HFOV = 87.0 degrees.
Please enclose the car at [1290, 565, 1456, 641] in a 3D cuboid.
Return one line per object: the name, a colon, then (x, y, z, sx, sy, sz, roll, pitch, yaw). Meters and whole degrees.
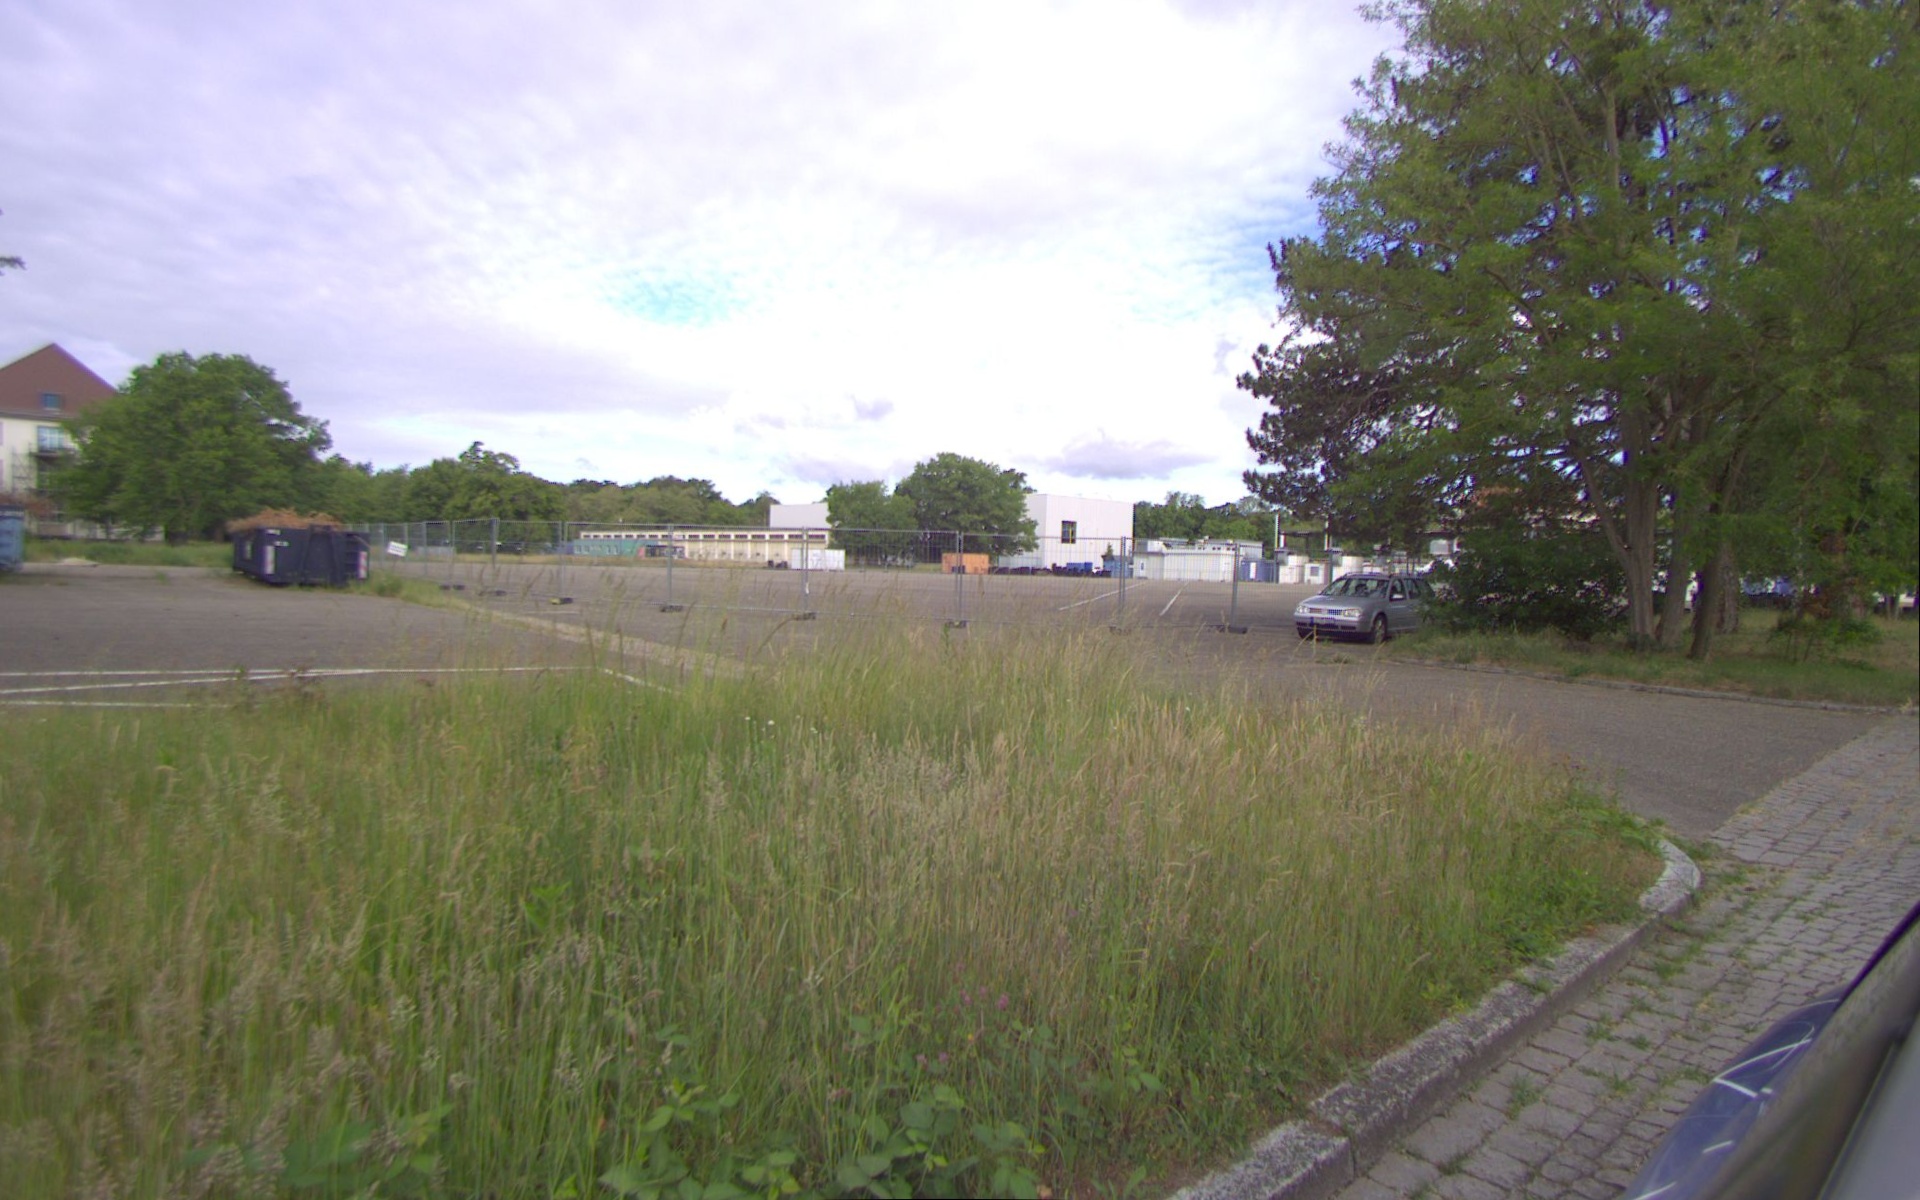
car: (9.060, 0.016, 22.001, 4.415, 1.468, 1.676, -1, 3, -44)
